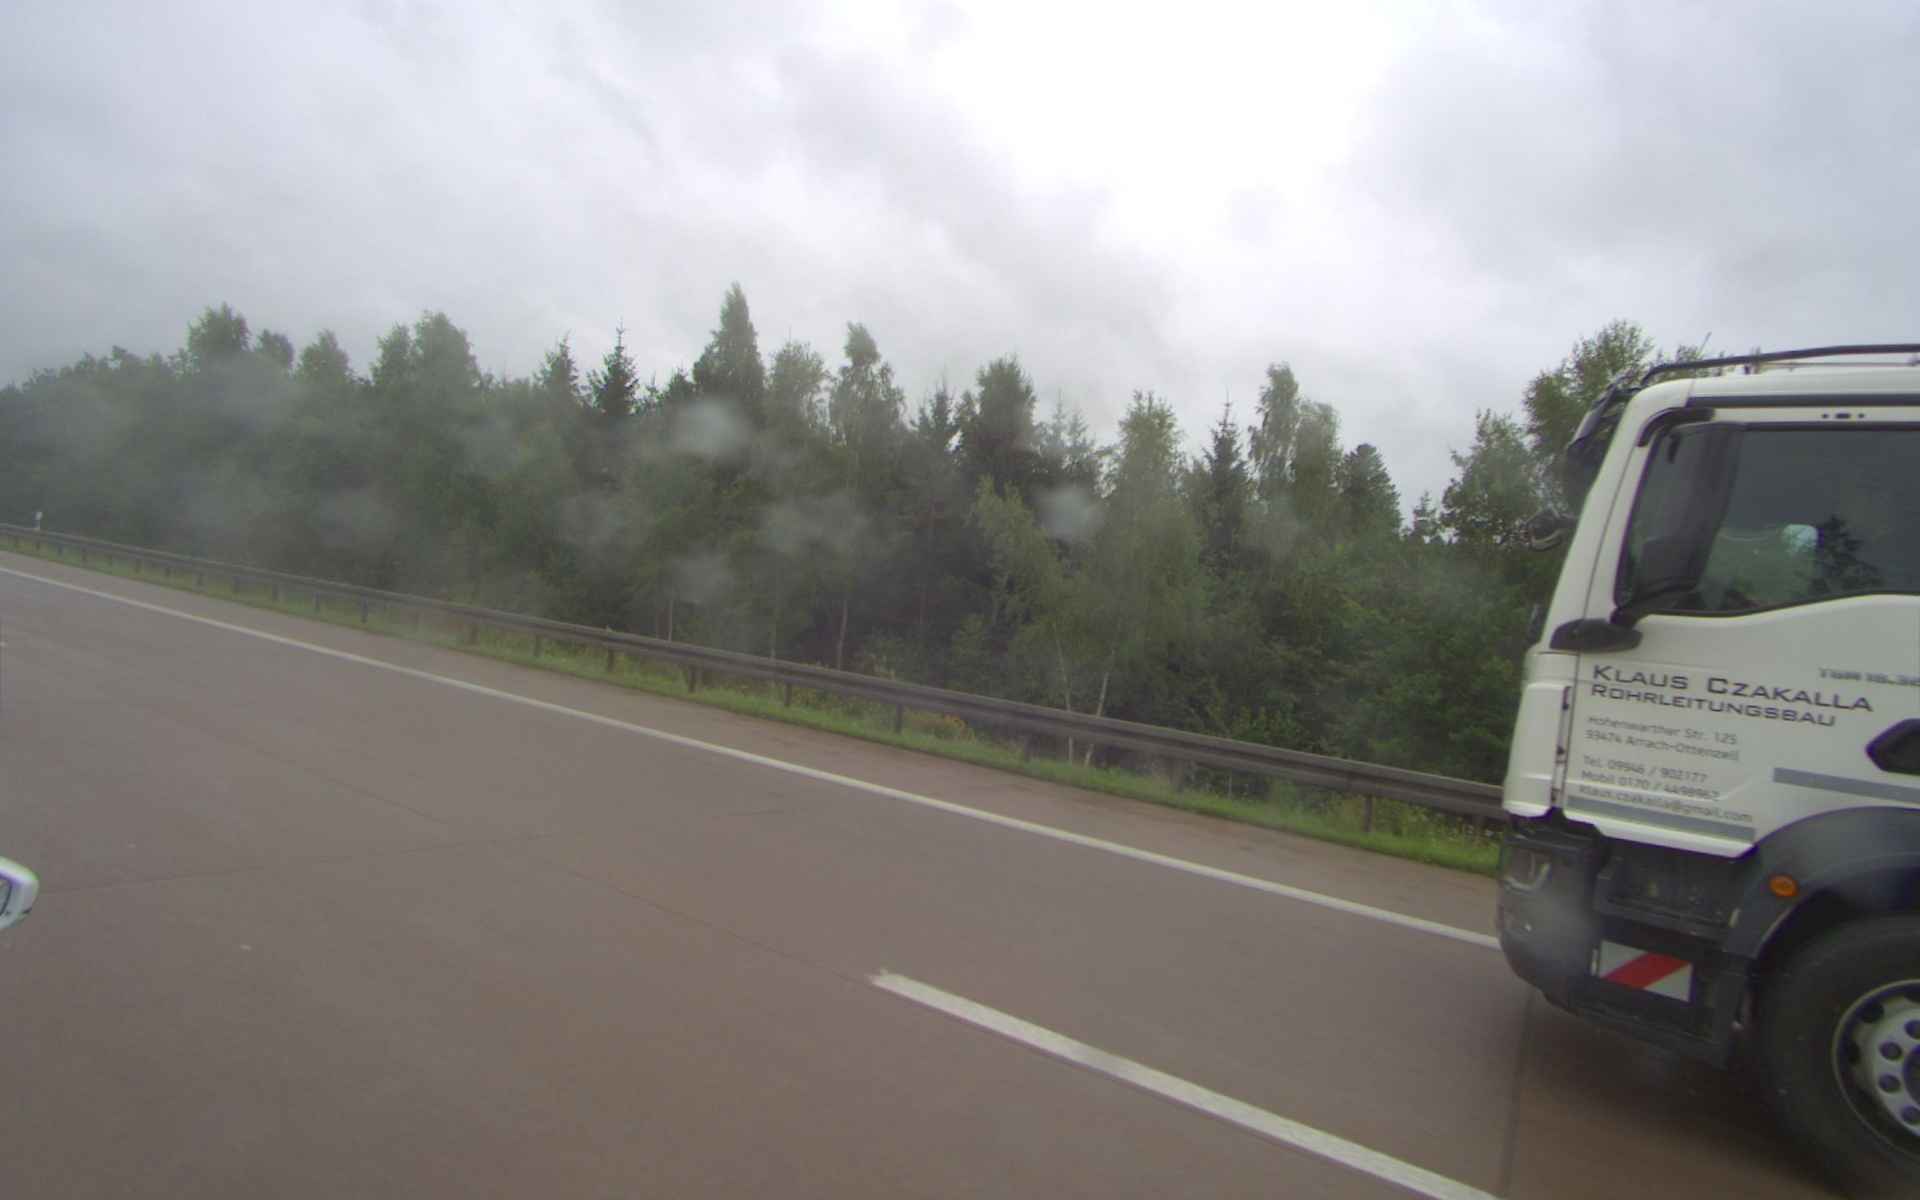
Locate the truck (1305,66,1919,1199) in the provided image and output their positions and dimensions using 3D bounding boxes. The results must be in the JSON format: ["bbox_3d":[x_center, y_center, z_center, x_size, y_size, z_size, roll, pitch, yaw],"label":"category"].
[{"bbox_3d":[5.778,0.484,3.448,7.823,3.773,3.240,7,-2,32],"label":"truck"}]
